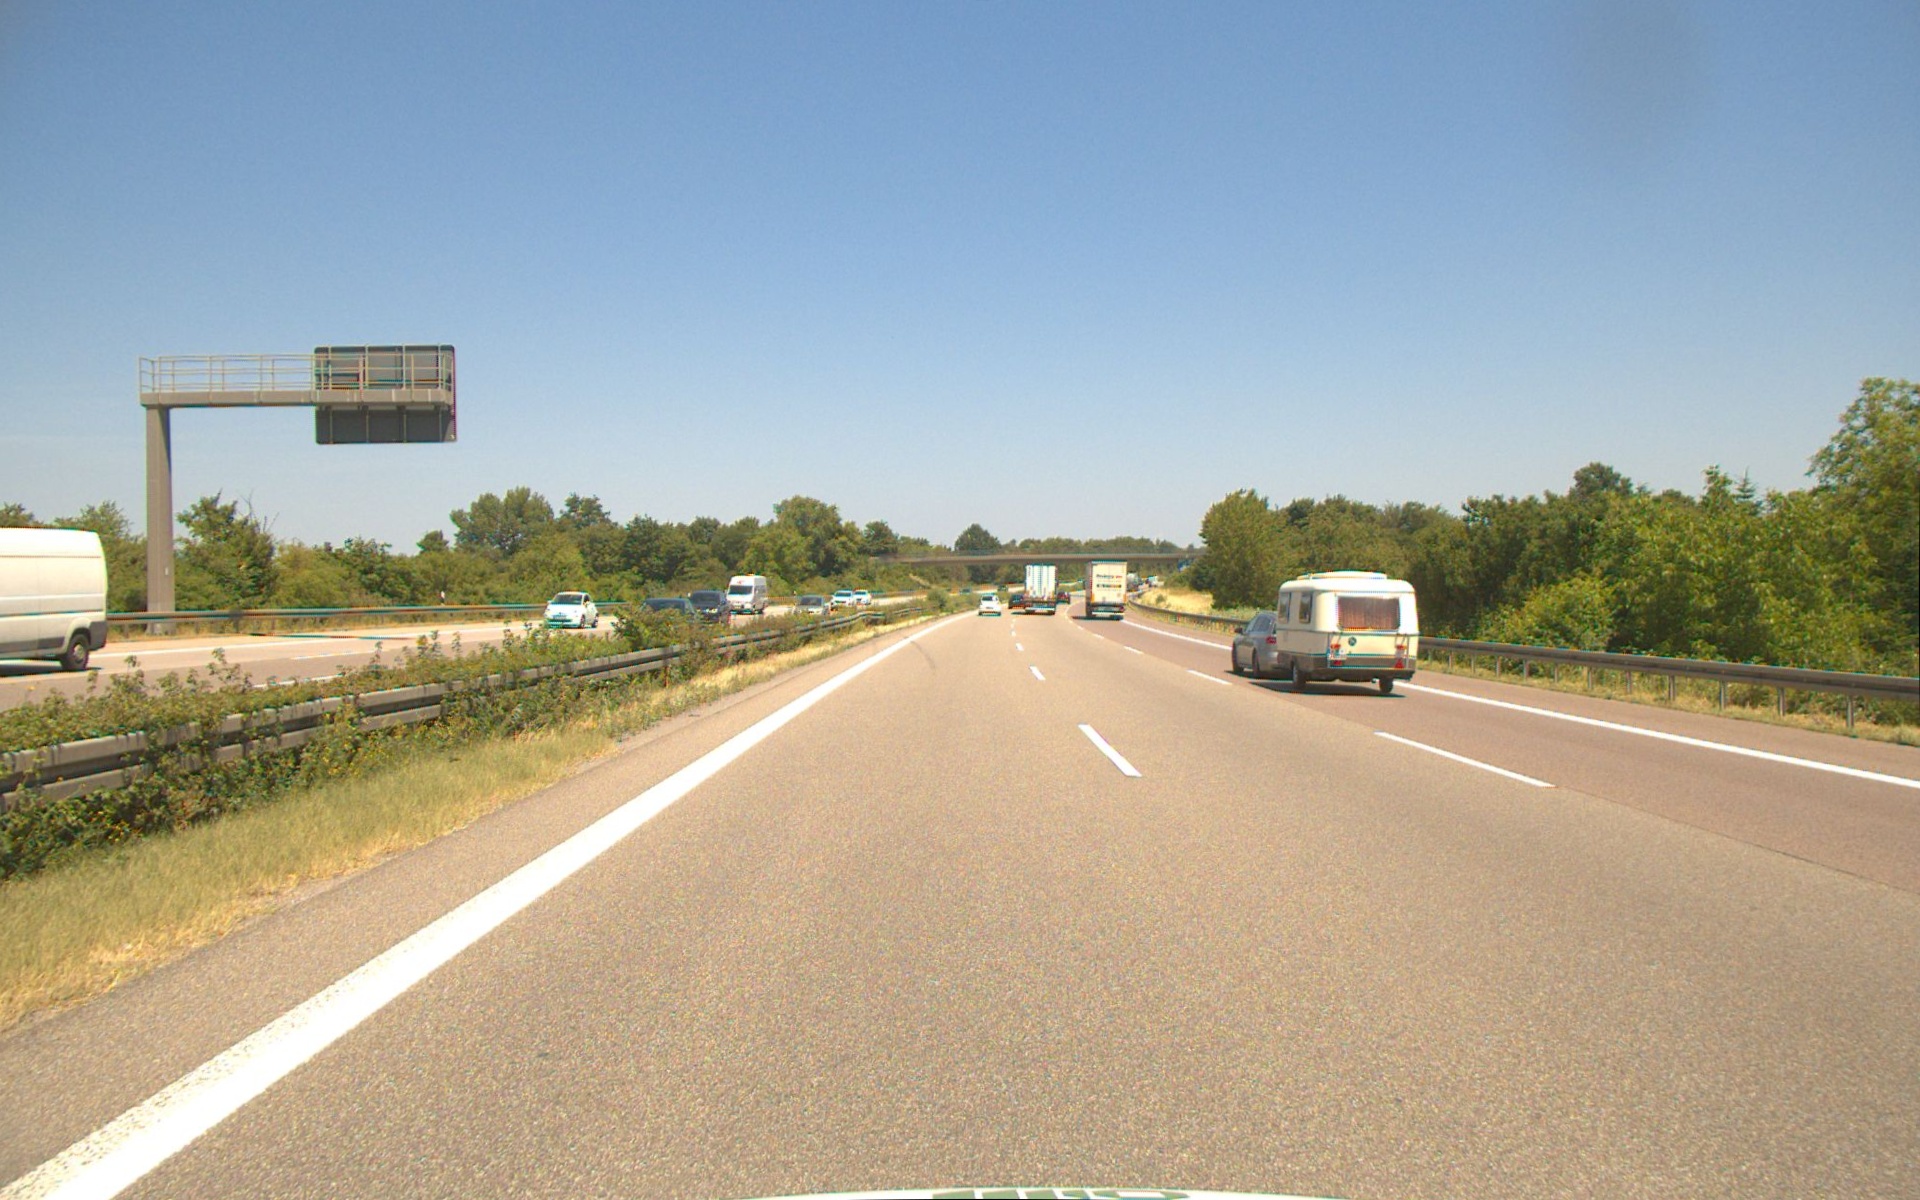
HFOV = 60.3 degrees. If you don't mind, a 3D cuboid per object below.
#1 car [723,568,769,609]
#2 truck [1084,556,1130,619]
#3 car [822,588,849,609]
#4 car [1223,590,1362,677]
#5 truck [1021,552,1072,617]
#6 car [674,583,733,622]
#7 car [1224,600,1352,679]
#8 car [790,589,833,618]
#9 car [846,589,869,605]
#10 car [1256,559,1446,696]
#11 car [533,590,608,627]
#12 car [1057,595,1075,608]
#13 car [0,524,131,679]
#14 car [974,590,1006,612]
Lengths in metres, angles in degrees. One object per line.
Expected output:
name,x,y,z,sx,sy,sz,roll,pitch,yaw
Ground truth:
car,-14.802,-0.766,114.919,1.952,2.733,7.184,1,0,2
truck,11.069,-1.048,123.977,3.114,4.379,16.029,1,1,5
car,-10.427,-0.141,138.863,1.751,1.710,4.902,1,0,1
car,7.353,0.677,37.147,2.003,1.687,5.510,0,2,0
truck,7.408,-1.399,139.416,3.589,5.105,16.028,1,1,5
car,-11.910,0.114,77.032,1.952,1.727,4.607,1,0,0
car,7.290,0.825,37.295,1.848,1.542,5.380,2,1,1
car,-8.053,0.197,90.152,1.710,1.492,4.251,1,0,3
car,-10.904,-0.290,176.374,1.710,1.567,4.831,2,1,5
car,7.322,0.409,31.585,2.392,2.362,5.322,0,2,0
car,-16.402,0.359,69.805,1.952,1.483,4.090,1,0,4
car,13.532,0.144,211.200,1.789,1.574,4.323,2,1,9
car,-16.678,0.007,27.985,2.087,2.520,6.333,1,0,0
car,2.301,0.093,125.379,1.789,1.574,4.323,2,1,9
